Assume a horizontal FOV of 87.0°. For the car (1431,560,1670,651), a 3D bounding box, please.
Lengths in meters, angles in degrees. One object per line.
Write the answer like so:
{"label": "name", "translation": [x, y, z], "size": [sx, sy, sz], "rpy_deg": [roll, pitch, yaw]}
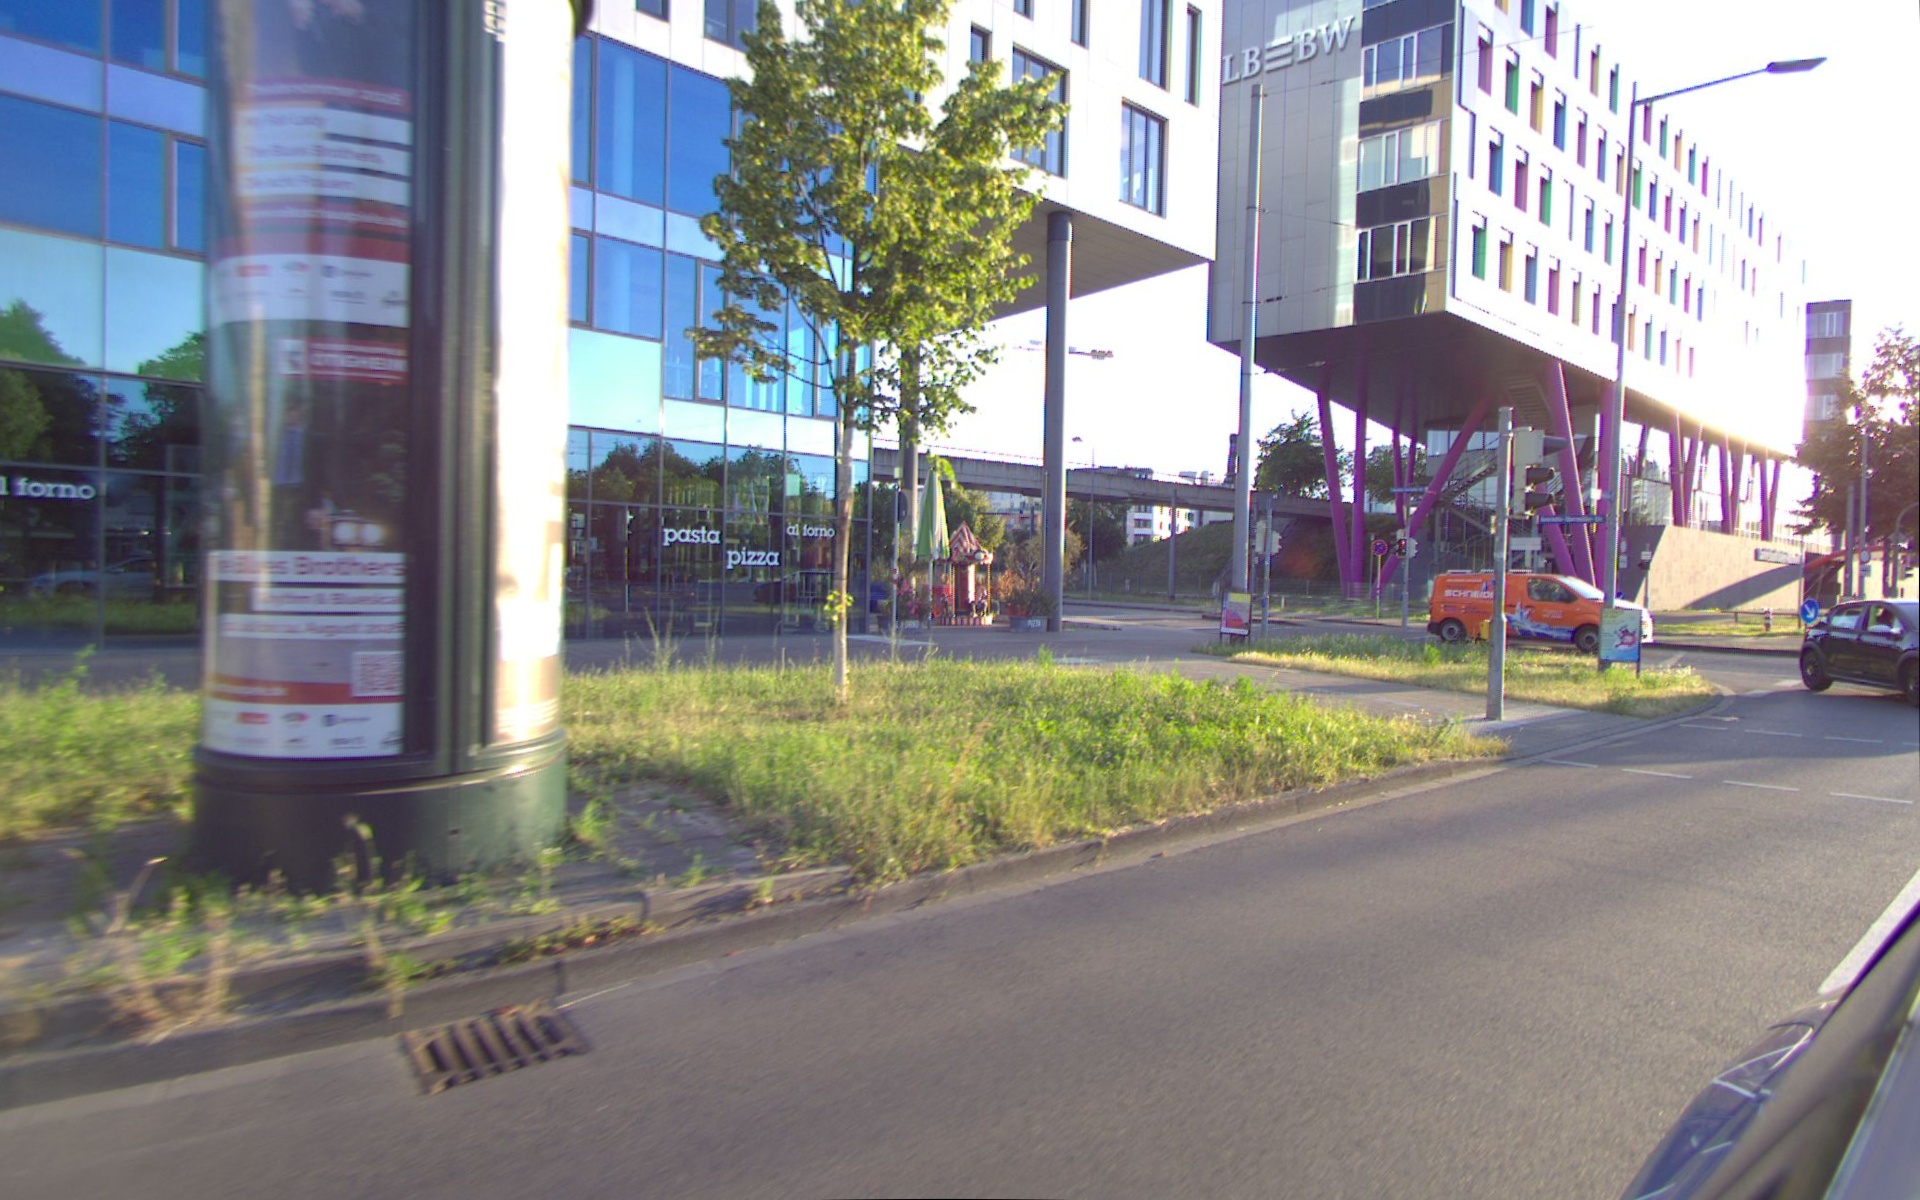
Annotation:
{"label": "car", "translation": [14.699, 0.045, 25.443], "size": [1.898, 2.015, 4.818], "rpy_deg": [-1, 3, -39]}

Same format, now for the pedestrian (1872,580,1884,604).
{"label": "pedestrian", "translation": [81.050, -0.710, 89.377], "size": [0.798, 2.038, 0.618], "rpy_deg": [0, 3, -40]}

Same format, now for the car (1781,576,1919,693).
{"label": "car", "translation": [14.023, 0.461, 14.513], "size": [1.733, 1.571, 4.059], "rpy_deg": [1, 2, 11]}

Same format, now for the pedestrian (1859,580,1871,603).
{"label": "pedestrian", "translation": [80.503, -0.758, 90.032], "size": [0.798, 2.038, 0.618], "rpy_deg": [0, 3, -40]}
